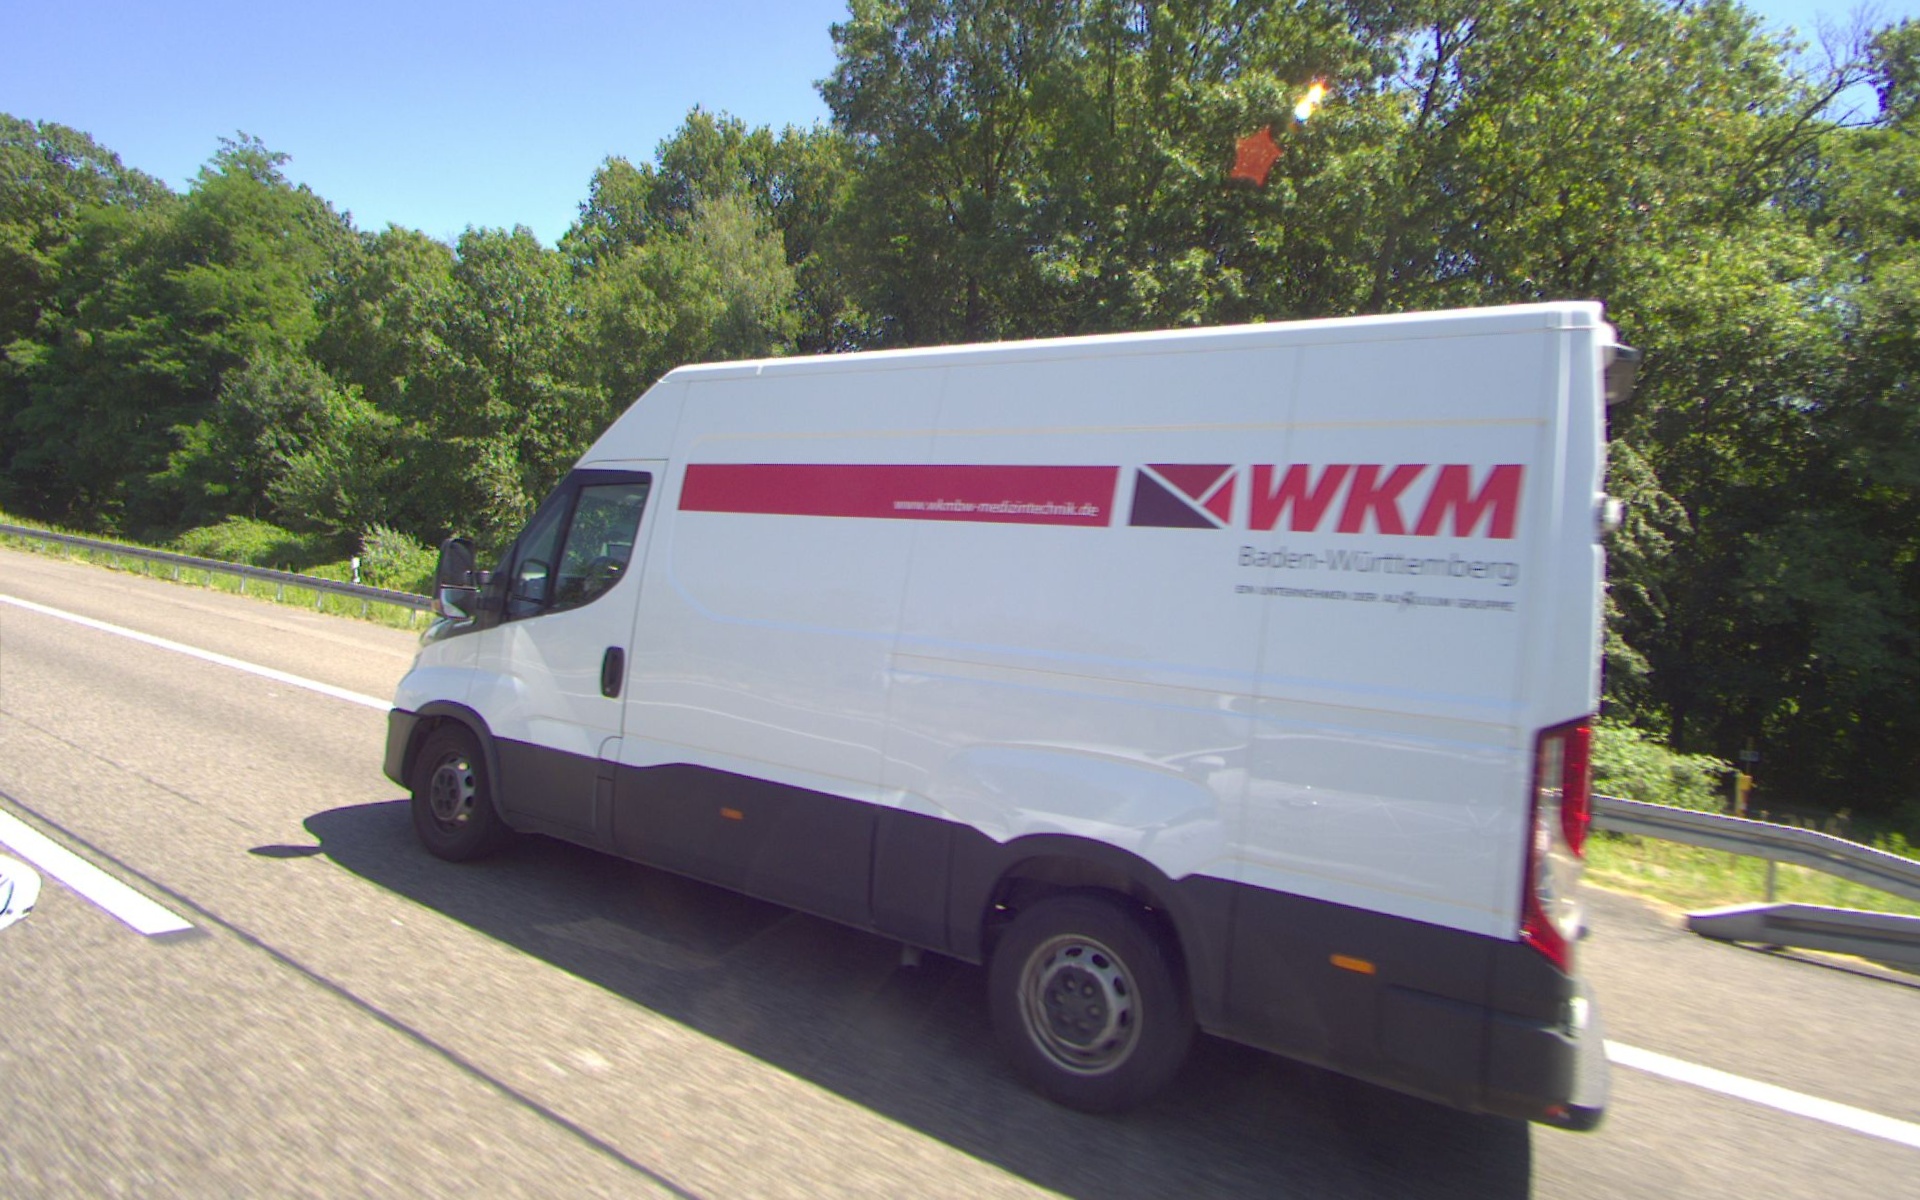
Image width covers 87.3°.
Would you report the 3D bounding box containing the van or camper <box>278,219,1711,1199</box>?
[{"bbox_3d":[-0.526,0.182,4.982,6.379,2.668,2.026,7,-1,31],"label":"van or camper"}]
